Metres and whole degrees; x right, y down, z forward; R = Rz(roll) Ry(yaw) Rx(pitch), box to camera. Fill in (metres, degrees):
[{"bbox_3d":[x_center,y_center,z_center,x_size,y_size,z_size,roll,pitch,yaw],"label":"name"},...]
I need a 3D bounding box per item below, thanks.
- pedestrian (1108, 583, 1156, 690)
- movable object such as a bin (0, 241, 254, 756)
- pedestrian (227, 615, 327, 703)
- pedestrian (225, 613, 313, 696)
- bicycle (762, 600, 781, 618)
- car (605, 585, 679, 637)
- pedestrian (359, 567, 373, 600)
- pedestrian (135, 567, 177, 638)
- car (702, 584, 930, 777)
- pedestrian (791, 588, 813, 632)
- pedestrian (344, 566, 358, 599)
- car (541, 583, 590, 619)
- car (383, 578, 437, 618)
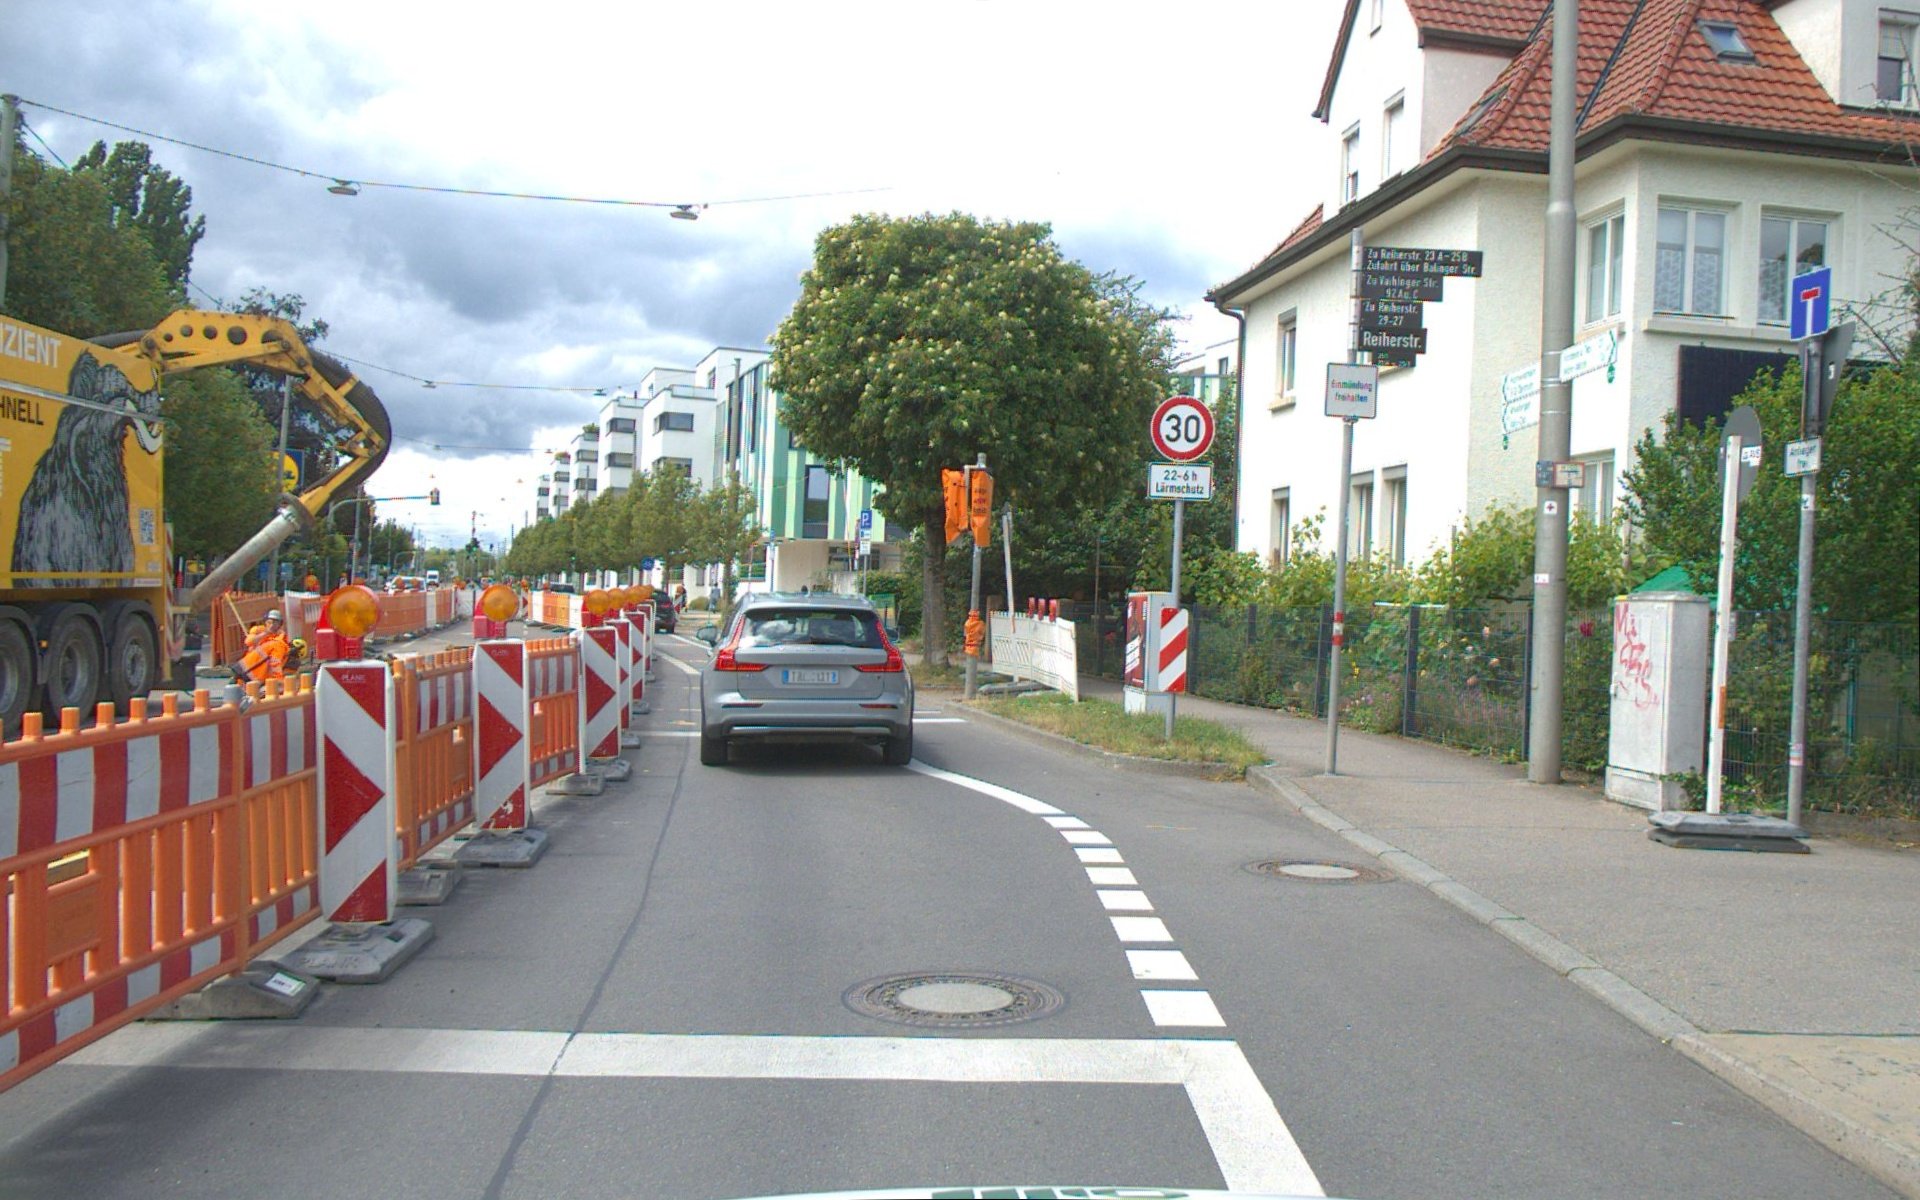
[{"bbox_3d":[2.577,0.542,24.749,0.510,1.566,0.636,1,0,25],"label":"pedestrian"},{"bbox_3d":[-9.299,-0.862,13.881,2.540,4.295,11.113,1,0,-4],"label":"movable object such as a bin"},{"bbox_3d":[-8.183,0.695,19.846,0.774,1.008,0.812,1,0,10],"label":"pedestrian"},{"bbox_3d":[-8.698,0.676,20.829,0.627,1.008,0.793,1,0,20],"label":"pedestrian"},{"bbox_3d":[-9.505,0.457,83.426,0.301,0.856,1.020,1,0,39],"label":"bicycle"},{"bbox_3d":[-10.562,0.347,54.692,1.826,1.539,3.979,3,0,-19],"label":"car"},{"bbox_3d":[-34.689,-0.981,96.581,0.671,1.887,0.888,2,-1,-18],"label":"pedestrian"},{"bbox_3d":[-18.864,0.050,38.822,0.741,1.631,0.825,2,0,-21],"label":"pedestrian"},{"bbox_3d":[-1.416,0.636,15.303,1.819,1.539,3.993,0,0,-8],"label":"car"},{"bbox_3d":[-5.745,0.364,60.129,0.572,1.579,0.864,2,0,-18],"label":"pedestrian"},{"bbox_3d":[-35.411,-1.019,96.219,0.671,1.887,0.703,2,-1,-18],"label":"pedestrian"},{"bbox_3d":[-18.796,0.032,78.716,1.817,1.539,3.979,3,0,-19],"label":"car"},{"bbox_3d":[-22.275,-0.080,67.078,1.824,1.478,3.983,3,0,-16],"label":"car"}]
